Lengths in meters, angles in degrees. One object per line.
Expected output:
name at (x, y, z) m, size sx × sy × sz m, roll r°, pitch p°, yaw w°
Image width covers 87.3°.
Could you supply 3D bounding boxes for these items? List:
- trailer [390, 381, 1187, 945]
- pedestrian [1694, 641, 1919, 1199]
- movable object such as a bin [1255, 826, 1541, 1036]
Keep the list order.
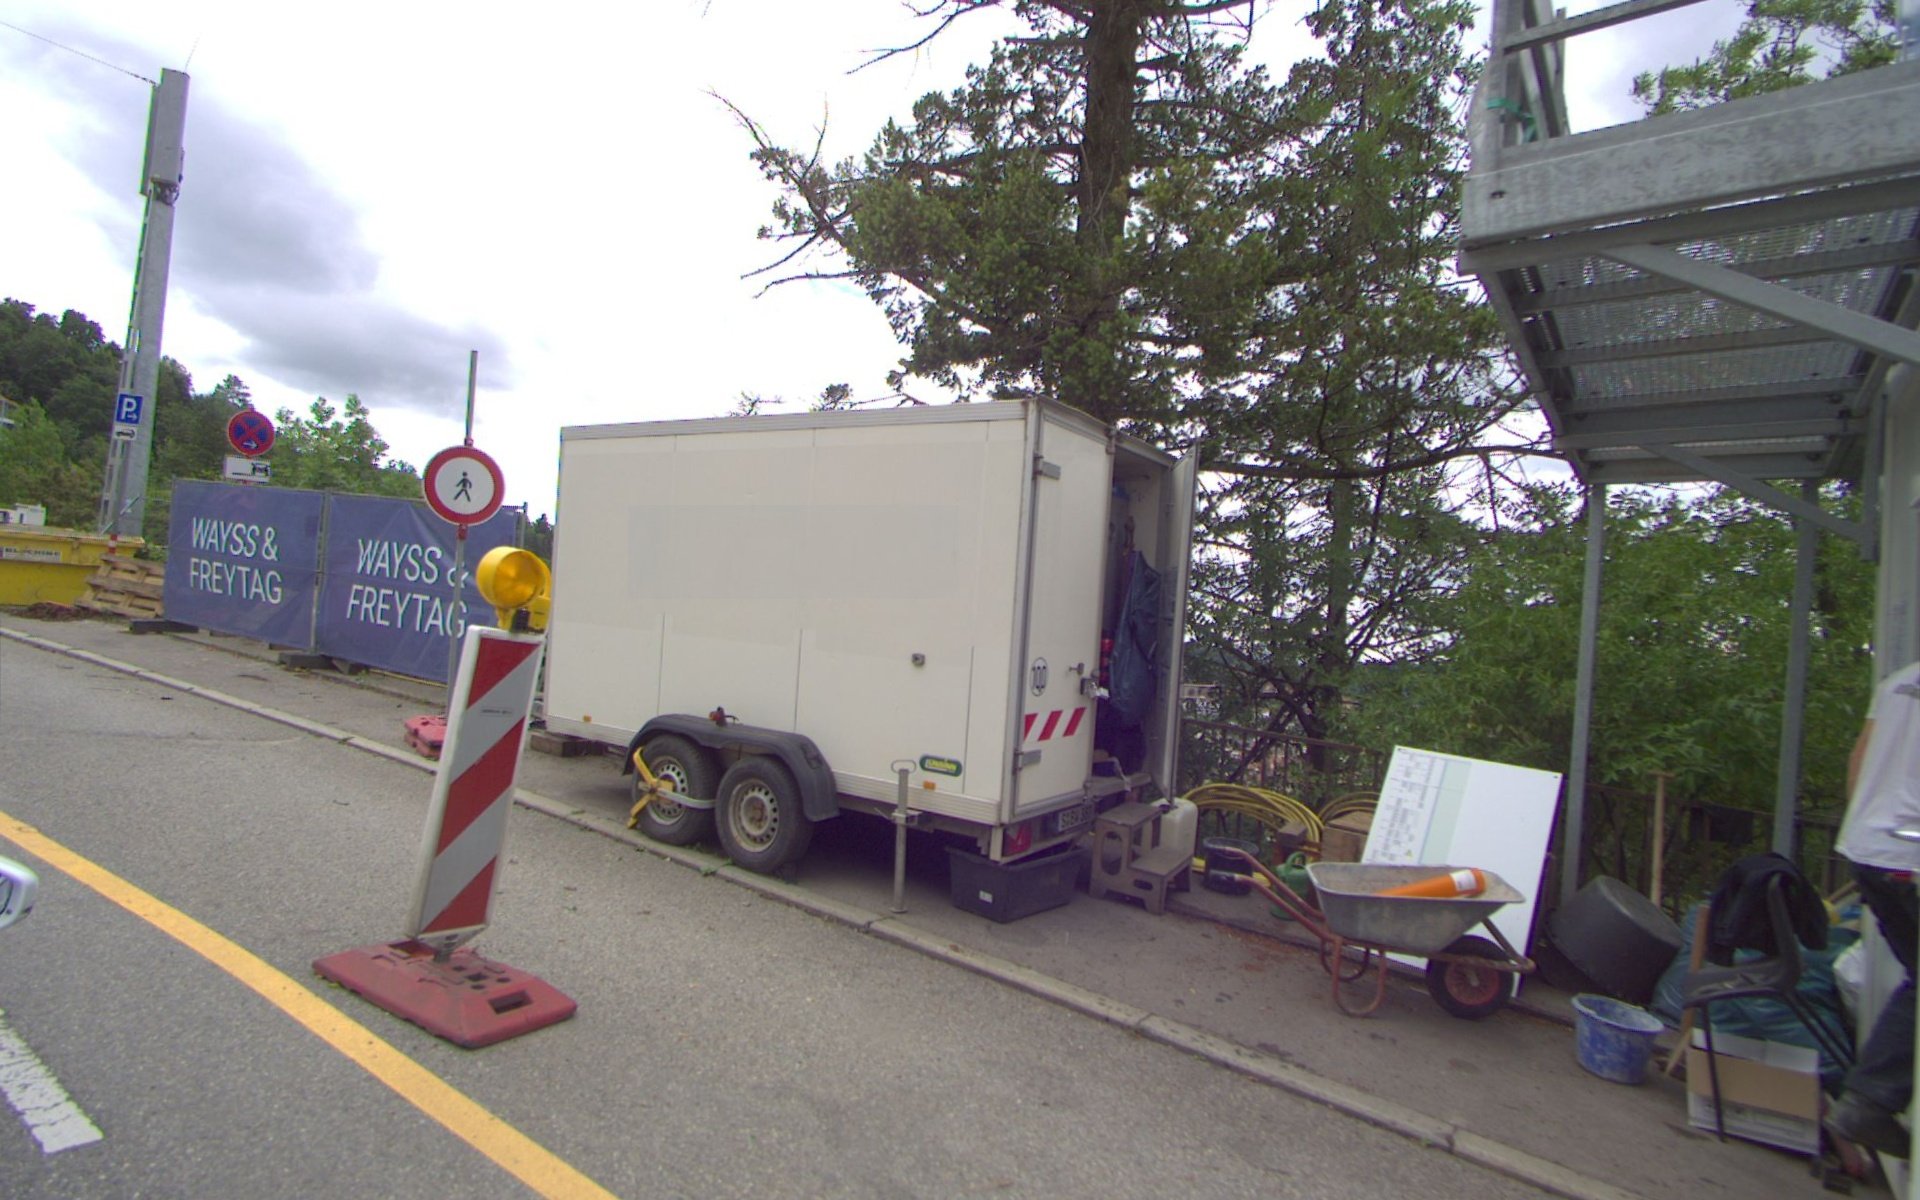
trailer at (-1.352, 0.135, 6.817) m, size 5.035 × 2.583 × 2.108 m, roll 6°, pitch 1°, yaw 32°
pedestrian at (2.807, 0.999, 2.958) m, size 0.639 × 1.680 × 0.650 m, roll 7°, pitch -1°, yaw -5°
movable object such as a bin at (1.942, 1.471, 4.592) m, size 1.032 × 0.604 × 0.601 m, roll 7°, pitch -1°, yaw 11°
